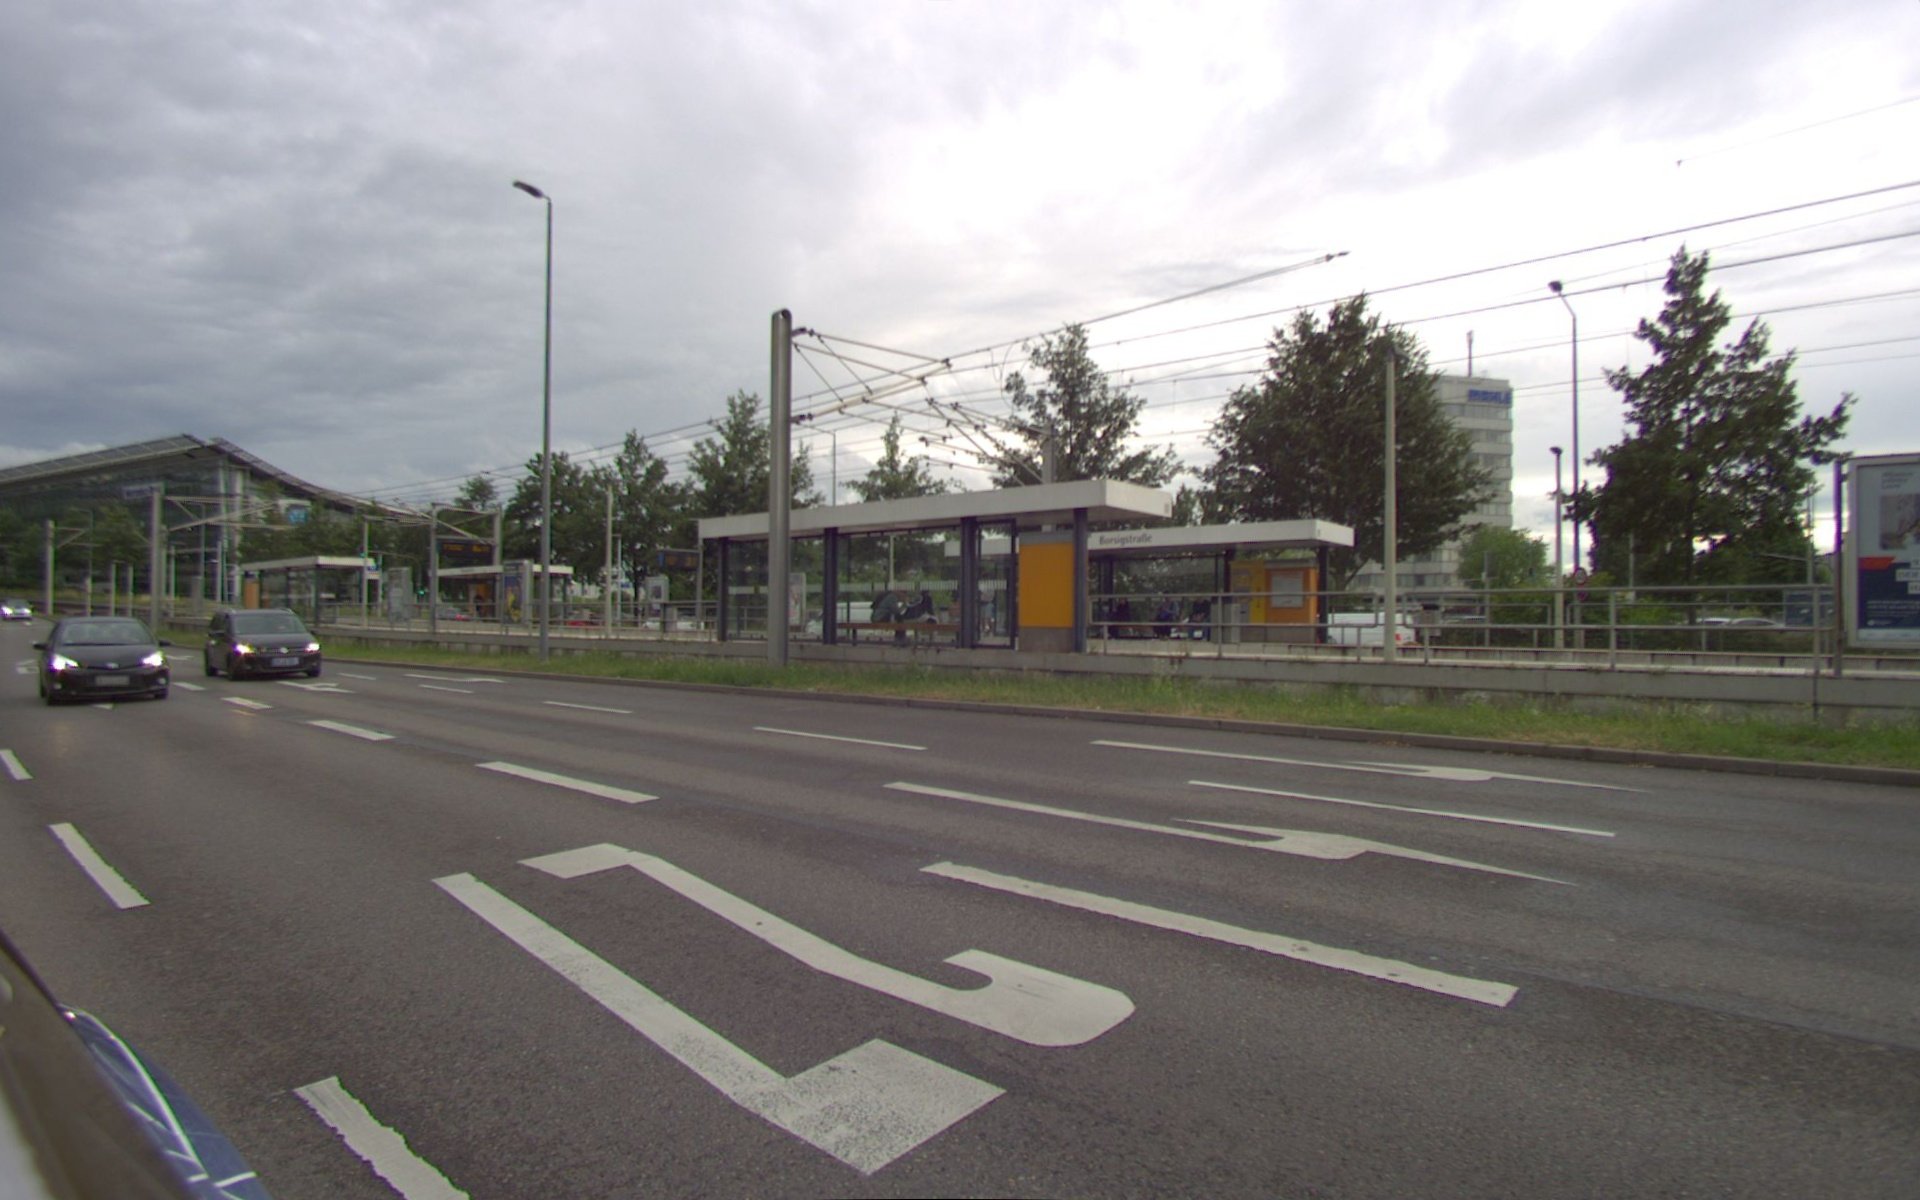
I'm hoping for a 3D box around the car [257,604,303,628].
[{"bbox_3d":[-55.078,1.253,81.950,3.996,1.861,1.974,0,1,40],"label":"car"}]

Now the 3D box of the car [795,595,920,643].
[{"bbox_3d":[-4.090,0.701,39.846,5.026,1.744,1.973,0,1,40],"label":"car"}]

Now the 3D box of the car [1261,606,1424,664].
[{"bbox_3d":[12.647,1.099,33.645,4.664,1.712,2.083,0,1,41],"label":"car"}]

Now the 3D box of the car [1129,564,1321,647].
[{"bbox_3d":[7.700,0.116,29.734,5.142,2.231,1.972,0,1,42],"label":"car"}]

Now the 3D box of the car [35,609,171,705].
[{"bbox_3d":[-15.819,1.090,18.613,1.673,1.534,3.908,-1,-3,-43],"label":"car"}]

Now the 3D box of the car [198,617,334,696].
[{"bbox_3d":[-16.556,1.268,24.078,4.191,1.604,1.708,0,1,42],"label":"car"}]

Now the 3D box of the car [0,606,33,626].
[{"bbox_3d":[-70.644,1.184,75.700,4.002,1.489,1.716,-1,0,45],"label":"car"}]

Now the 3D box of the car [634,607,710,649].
[{"bbox_3d":[-15.272,1.447,53.607,3.998,2.029,1.973,0,1,41],"label":"car"}]
